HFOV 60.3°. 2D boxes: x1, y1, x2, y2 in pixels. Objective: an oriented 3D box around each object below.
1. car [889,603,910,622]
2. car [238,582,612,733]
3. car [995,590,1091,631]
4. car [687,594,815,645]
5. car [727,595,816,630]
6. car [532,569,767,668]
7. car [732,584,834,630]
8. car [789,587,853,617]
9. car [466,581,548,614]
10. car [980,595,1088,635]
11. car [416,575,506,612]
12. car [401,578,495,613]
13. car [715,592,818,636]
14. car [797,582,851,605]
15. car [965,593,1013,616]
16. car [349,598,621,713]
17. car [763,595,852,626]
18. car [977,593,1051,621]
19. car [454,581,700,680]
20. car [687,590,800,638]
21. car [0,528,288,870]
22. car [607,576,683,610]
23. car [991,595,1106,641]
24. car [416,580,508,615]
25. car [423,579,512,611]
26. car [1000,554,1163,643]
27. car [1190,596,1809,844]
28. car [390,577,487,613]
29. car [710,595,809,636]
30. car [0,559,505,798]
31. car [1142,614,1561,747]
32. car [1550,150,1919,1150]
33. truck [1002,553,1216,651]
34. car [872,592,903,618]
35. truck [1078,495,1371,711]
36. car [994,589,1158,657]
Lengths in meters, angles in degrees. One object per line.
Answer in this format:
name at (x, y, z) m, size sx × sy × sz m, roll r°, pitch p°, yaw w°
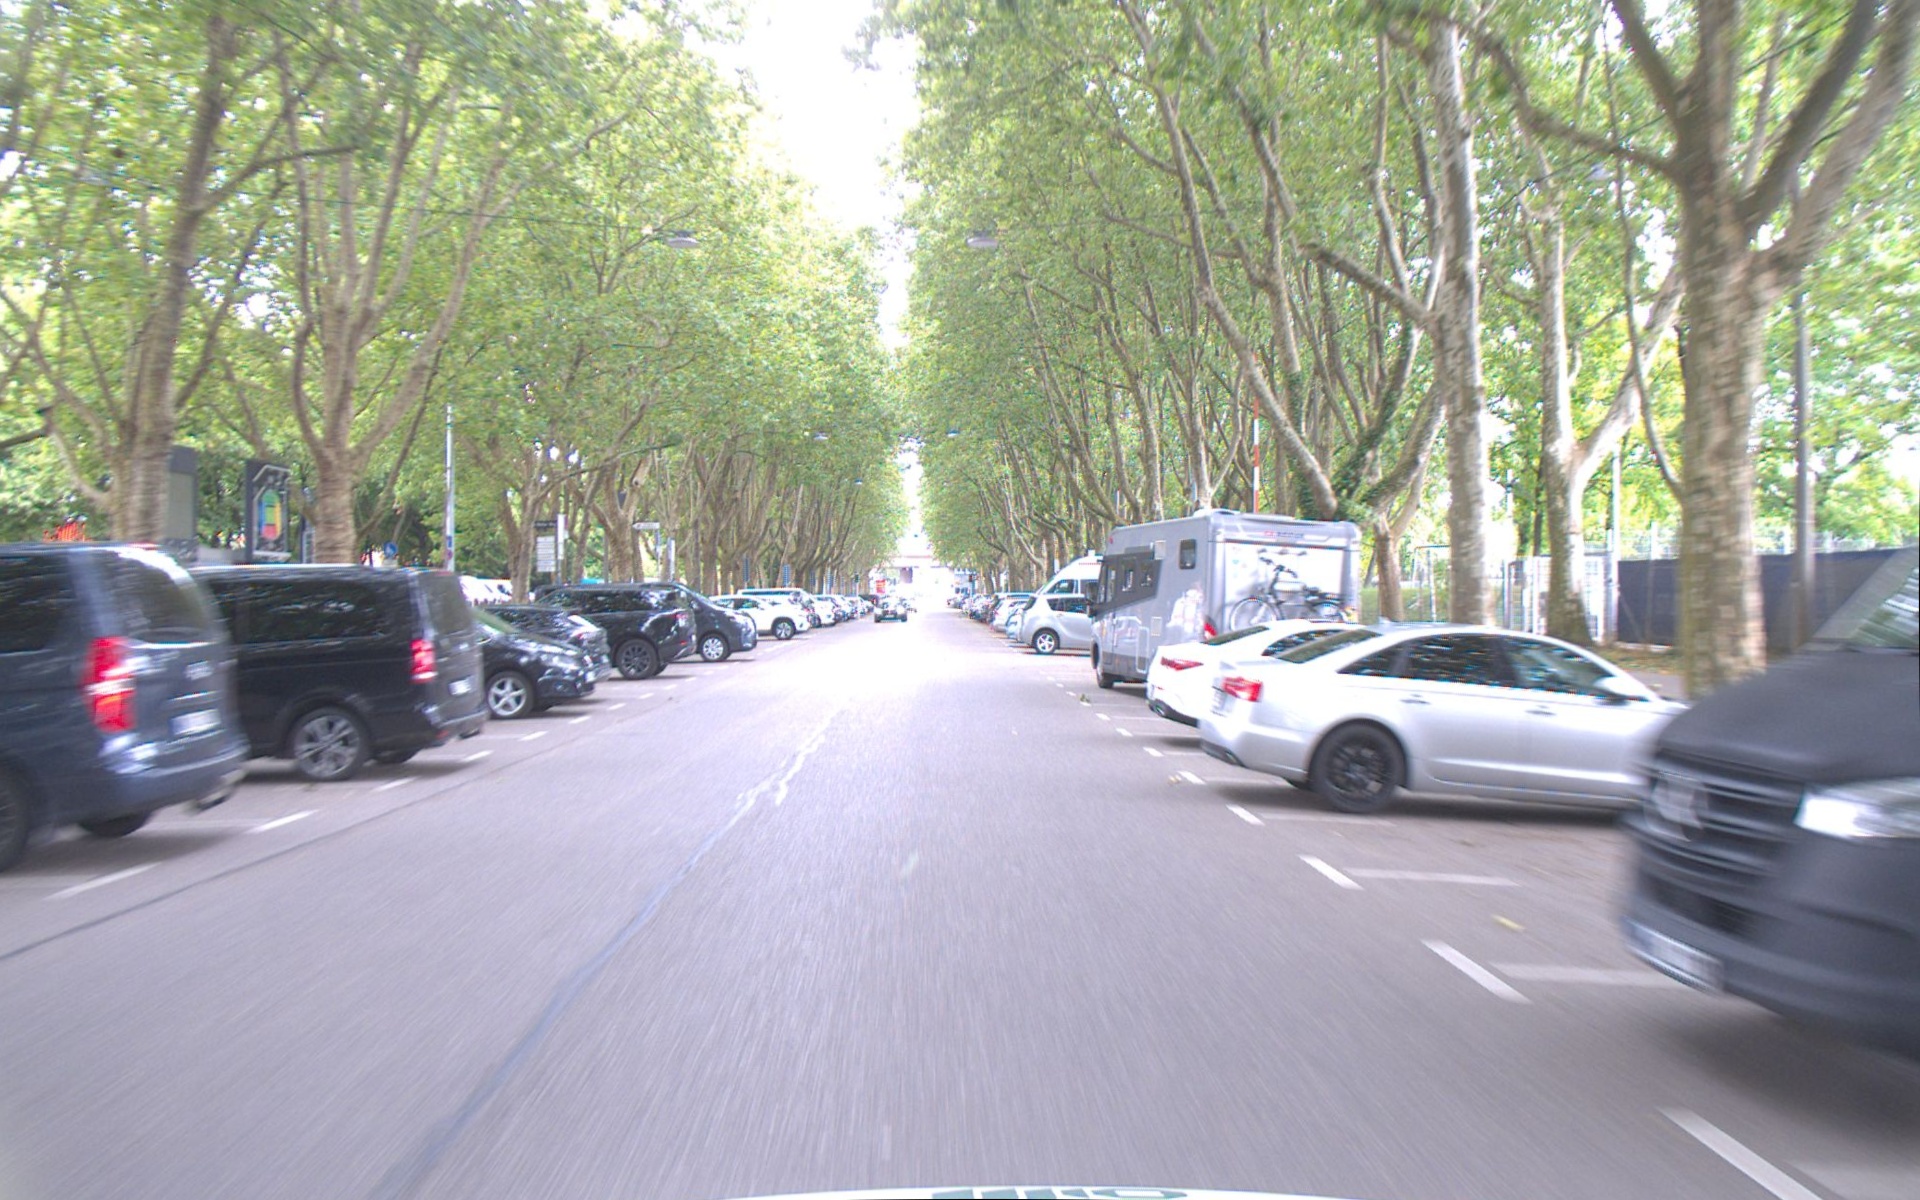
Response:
car at (-5.166, 1.067, 140.664) m, size 1.655 × 1.497 × 3.837 m, roll -2°, pitch 0°, yaw -3°
car at (-7.270, 0.750, 22.788) m, size 4.485 × 1.812 × 1.798 m, roll -2°, pitch 1°, yaw 0°
car at (3.830, 0.489, 76.732) m, size 4.297 × 1.786 × 1.800 m, roll 1°, pitch 0°, yaw -3°
car at (-7.352, 0.669, 58.573) m, size 4.292 × 1.624 × 1.999 m, roll -2°, pitch 0°, yaw -3°
car at (-8.666, 0.573, 76.249) m, size 3.908 × 1.438 × 1.682 m, roll -3°, pitch 0°, yaw -3°
car at (-7.465, 0.419, 40.185) m, size 5.327 × 2.165 × 1.939 m, roll -2°, pitch 1°, yaw -3°
car at (-8.690, 0.341, 81.372) m, size 4.795 × 2.054 × 1.919 m, roll -2°, pitch 0°, yaw -2°
car at (-8.269, 0.122, 98.814) m, size 3.751 × 1.656 × 1.951 m, roll -2°, pitch 0°, yaw -4°
car at (-36.019, -0.205, 131.608) m, size 5.880 × 2.571 × 1.999 m, roll 1°, pitch 0°, yaw -2°
car at (3.087, 0.622, 69.726) m, size 4.412 × 1.552 × 1.702 m, roll 1°, pitch 0°, yaw -3°
car at (-36.093, -0.445, 119.750) m, size 5.880 × 2.571 × 1.999 m, roll 1°, pitch 0°, yaw -2°
car at (-35.360, -0.328, 114.348) m, size 5.880 × 2.292 × 1.999 m, roll 1°, pitch 0°, yaw -2°
car at (-8.377, 0.608, 72.047) m, size 4.254 × 1.696 × 1.999 m, roll -3°, pitch 0°, yaw -3°
car at (-9.517, -0.438, 116.071) m, size 3.751 × 1.455 × 1.693 m, roll -2°, pitch 0°, yaw -4°
car at (2.251, 0.333, 129.536) m, size 3.574 × 1.696 × 1.518 m, roll 1°, pitch 0°, yaw -5°
car at (-7.214, 0.812, 25.379) m, size 3.832 × 1.520 × 1.747 m, roll -2°, pitch 0°, yaw -14°
car at (-7.966, 0.545, 86.591) m, size 4.355 × 1.478 × 1.775 m, roll -2°, pitch 0°, yaw 3°
car at (2.832, 0.370, 87.151) m, size 3.750 × 1.413 × 1.693 m, roll 1°, pitch 0°, yaw -3°
car at (-7.467, 0.593, 32.671) m, size 4.566 × 1.852 × 1.802 m, roll -1°, pitch -1°, yaw -8°
car at (-8.661, 0.535, 66.484) m, size 4.254 × 1.696 × 1.999 m, roll -3°, pitch 0°, yaw -3°
car at (-6.995, 0.616, 10.421) m, size 4.670 × 1.958 × 2.015 m, roll -2°, pitch 0°, yaw -6°
car at (-25.124, -0.549, 132.072) m, size 5.668 × 2.642 × 2.000 m, roll 1°, pitch 0°, yaw -1°
car at (3.150, 0.637, 59.470) m, size 4.035 × 1.454 × 1.703 m, roll 3°, pitch 0°, yaw 0°
car at (-35.272, -0.175, 117.151) m, size 5.880 × 2.358 × 1.999 m, roll 1°, pitch 0°, yaw -2°
car at (-36.306, -0.361, 121.992) m, size 5.880 × 2.279 × 1.999 m, roll 1°, pitch 0°, yaw -2°
car at (3.945, -0.055, 54.351) m, size 5.122 × 2.736 × 1.957 m, roll 1°, pitch 0°, yaw -1°
car at (4.074, 0.875, 12.997) m, size 4.269 × 1.470 × 1.613 m, roll 5°, pitch 0°, yaw 2°
car at (-35.297, -0.335, 111.957) m, size 5.880 × 2.292 × 1.999 m, roll 1°, pitch 0°, yaw -2°
car at (-8.368, 0.635, 69.246) m, size 3.908 × 1.501 × 1.842 m, roll -3°, pitch 0°, yaw -3°
car at (-6.962, 0.679, 15.358) m, size 4.805 × 1.958 × 2.208 m, roll -2°, pitch 0°, yaw -1°
car at (4.240, 0.865, 18.353) m, size 4.232 × 1.325 × 1.699 m, roll 1°, pitch 0°, yaw -1°
car at (5.759, 0.183, 5.613) m, size 6.739 × 2.742 × 2.127 m, roll 1°, pitch 0°, yaw 0°
truck at (4.369, 0.063, 49.171) m, size 6.163 × 2.762 × 2.098 m, roll 1°, pitch 0°, yaw 1°
car at (-4.207, 0.271, 95.515) m, size 1.622 × 1.388 × 4.108 m, roll -3°, pitch 0°, yaw -5°
truck at (3.972, 0.038, 26.784) m, size 2.413 × 2.989 × 7.521 m, roll 1°, pitch 0°, yaw -9°
car at (3.082, 0.597, 44.353) m, size 4.250 × 1.646 × 1.804 m, roll 2°, pitch 0°, yaw 2°
